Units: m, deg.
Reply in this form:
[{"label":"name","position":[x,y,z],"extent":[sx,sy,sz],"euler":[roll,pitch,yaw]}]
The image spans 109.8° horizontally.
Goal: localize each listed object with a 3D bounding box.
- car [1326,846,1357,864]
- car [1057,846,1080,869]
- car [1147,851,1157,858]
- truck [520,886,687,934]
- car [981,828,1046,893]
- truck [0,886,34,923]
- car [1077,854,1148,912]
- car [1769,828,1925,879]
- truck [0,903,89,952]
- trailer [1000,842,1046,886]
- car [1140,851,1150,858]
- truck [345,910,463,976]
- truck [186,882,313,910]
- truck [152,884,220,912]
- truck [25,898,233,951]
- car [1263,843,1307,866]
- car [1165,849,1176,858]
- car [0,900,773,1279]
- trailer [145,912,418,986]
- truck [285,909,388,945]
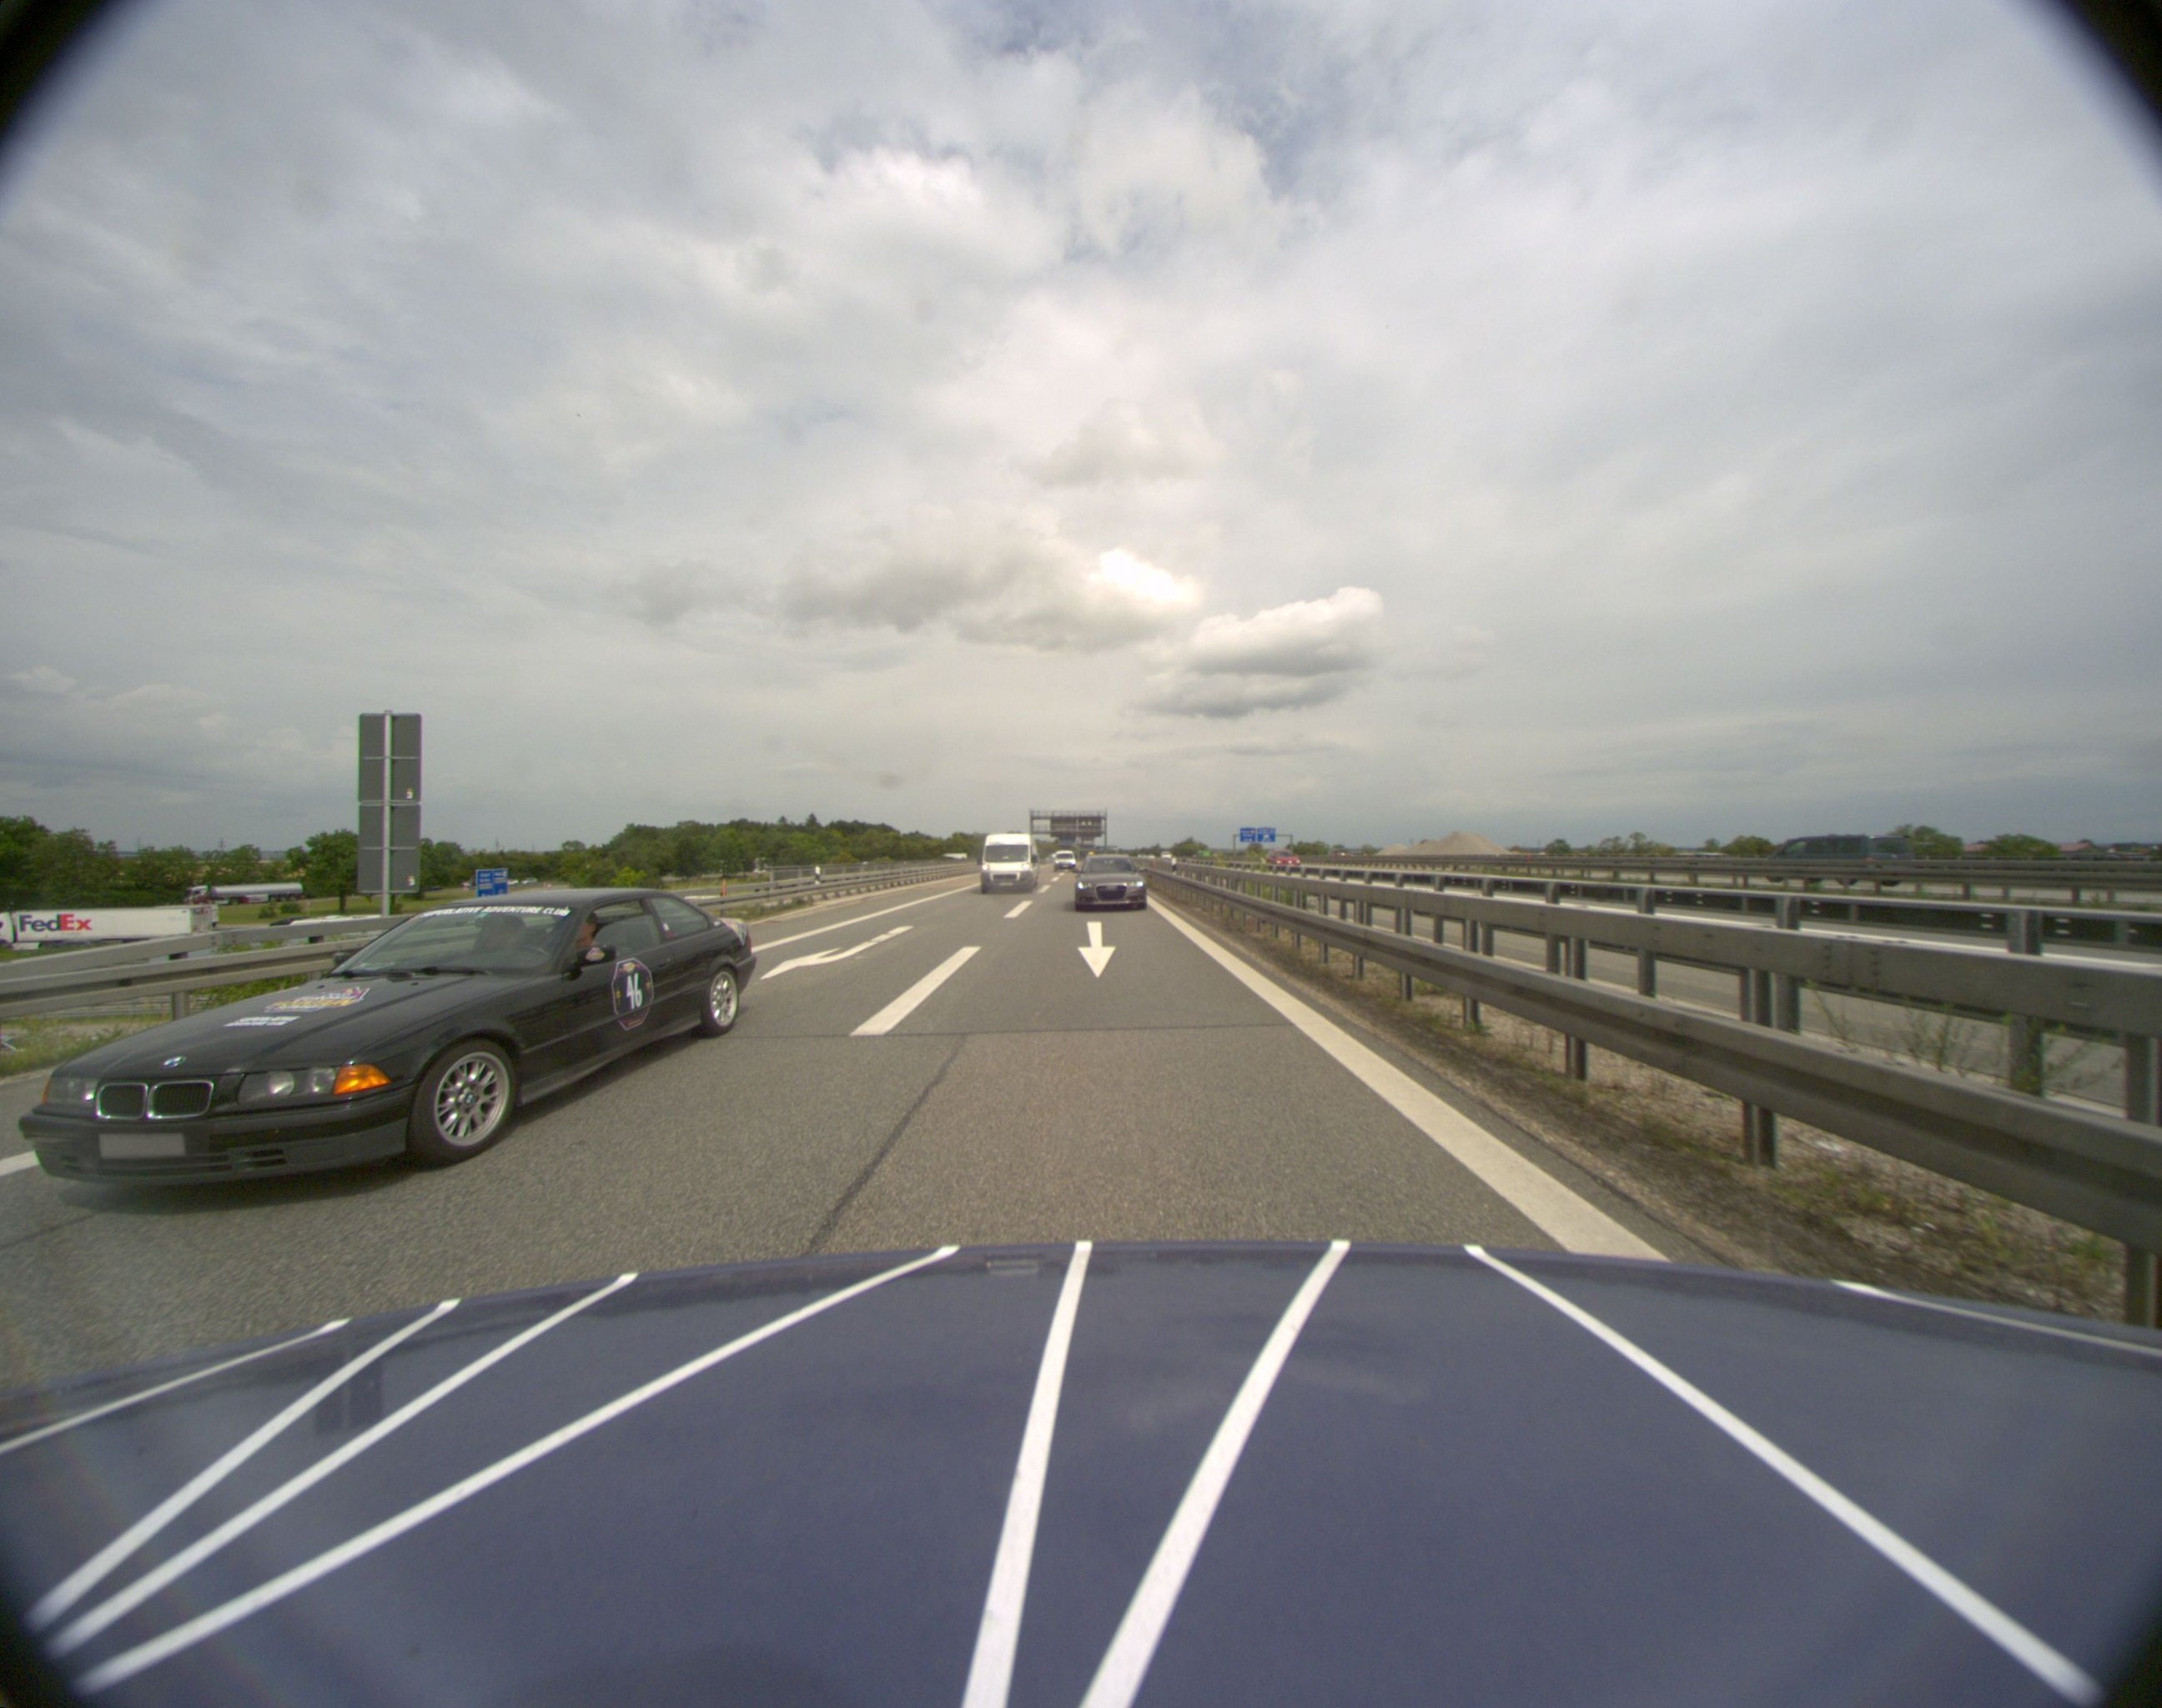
[{"label":"car","position":[27.508,0.148,80.353],"extent":[1.914,1.783,4.001],"euler":[-1,0,2]},{"label":"car","position":[-1.099,0.313,65.411],"extent":[1.846,1.870,4.288],"euler":[-2,0,-3]},{"label":"car","position":[18.936,0.140,203.053],"extent":[1.999,1.870,3.999],"euler":[-2,0,-2]},{"label":"truck","position":[-56.432,6.538,90.440],"extent":[16.179,4.673,3.989],"euler":[-2,1,-13]},{"label":"car","position":[-2.743,0.269,32.561],"extent":[2.119,2.439,6.152],"euler":[-2,0,0]},{"label":"truck","position":[-159.320,7.389,106.277],"extent":[3.851,5.184,14.887],"euler":[-2,0,34]},{"label":"car","position":[0.804,0.730,21.054],"extent":[1.747,1.380,3.999],"euler":[-1,1,1]},{"label":"car","position":[30.456,-0.021,30.419],"extent":[1.911,1.805,4.222],"euler":[-3,0,0]},{"label":"truck","position":[-107.092,7.459,77.290],"extent":[6.296,4.485,3.928],"euler":[-2,0,-14]},{"label":"trailer","position":[-2.824,0.464,37.961],"extent":[1.859,2.002,4.631],"euler":[-2,0,0]},{"label":"car","position":[15.622,0.188,186.259],"extent":[1.999,1.739,3.999],"euler":[-2,0,-2]},{"label":"truck","position":[-49.984,6.495,56.316],"extent":[5.616,4.261,3.128],"euler":[-1,0,-13]},{"label":"truck","position":[-145.145,7.204,133.141],"extent":[3.079,4.065,14.755],"euler":[-2,0,21]},{"label":"truck","position":[-148.012,7.262,125.749],"extent":[3.155,4.163,6.452],"euler":[-2,1,22]},{"label":"truck","position":[-98.956,7.220,79.352],"extent":[13.797,4.527,4.003],"euler":[-2,0,-14]},{"label":"car","position":[14.457,0.065,54.105],"extent":[1.824,1.537,4.354],"euler":[-2,0,-1]},{"label":"car","position":[19.665,-0.119,167.419],"extent":[1.998,2.002,4.466],"euler":[-2,0,1]},{"label":"car","position":[-3.969,1.100,5.275],"extent":[1.708,1.273,4.366],"euler":[-2,0,2]},{"label":"trailer","position":[-56.937,6.658,54.642],"extent":[13.958,4.261,3.128],"euler":[-1,0,-13]},{"label":"truck","position":[-78.111,7.616,79.813],"extent":[7.570,3.178,2.230],"euler":[-2,0,-14]}]
